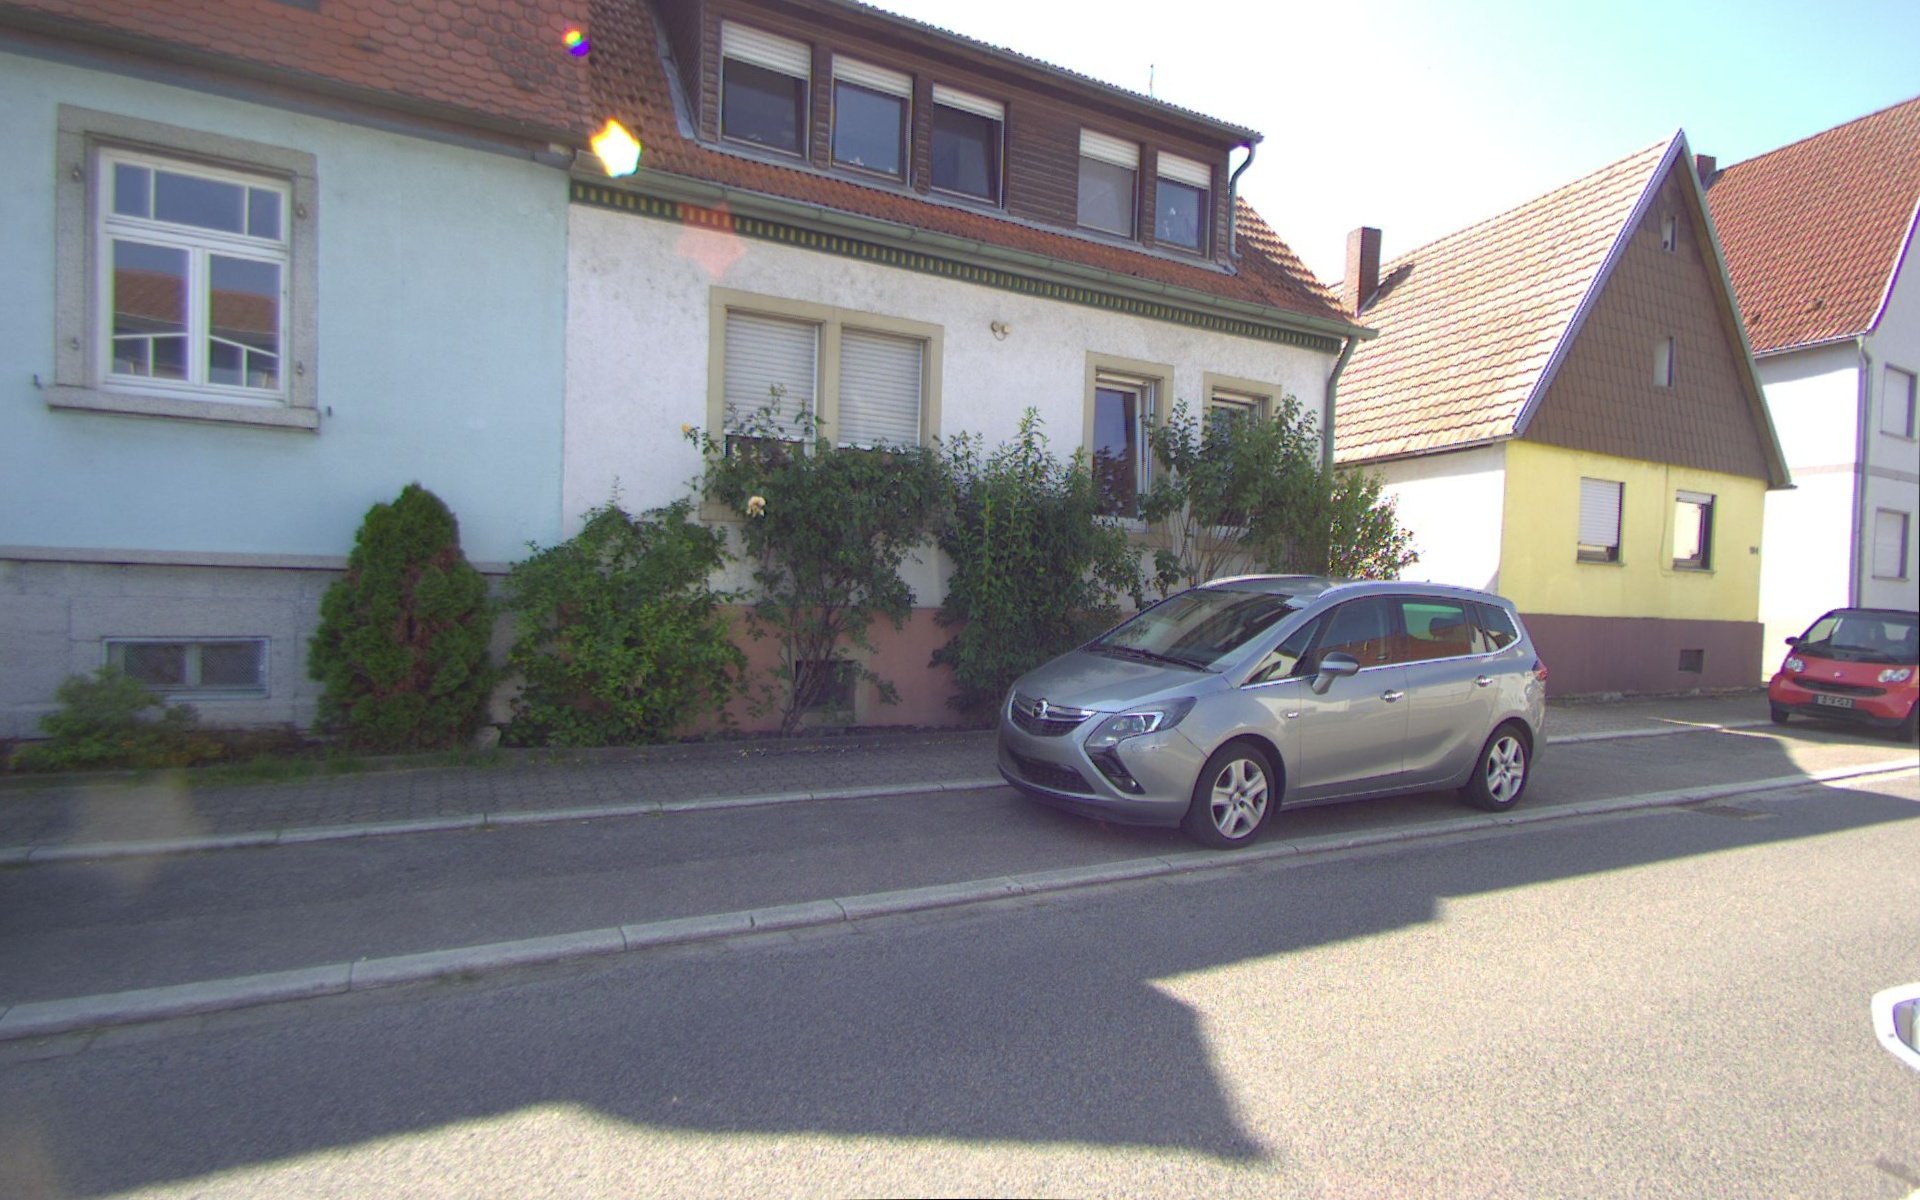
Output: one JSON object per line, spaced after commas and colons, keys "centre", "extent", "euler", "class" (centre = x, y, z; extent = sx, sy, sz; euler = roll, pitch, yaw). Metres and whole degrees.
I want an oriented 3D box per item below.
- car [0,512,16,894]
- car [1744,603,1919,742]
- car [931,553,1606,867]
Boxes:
{"centre": [-5.869, 0.444, 2.599], "extent": [4.607, 1.690, 1.912], "euler": [2, 3, -28], "class": "car"}
{"centre": [11.948, 0.885, 13.159], "extent": [2.951, 1.565, 1.546], "euler": [2, 2, -29], "class": "car"}
{"centre": [2.286, 0.605, 7.204], "extent": [4.605, 1.659, 1.865], "euler": [2, 2, -28], "class": "car"}
